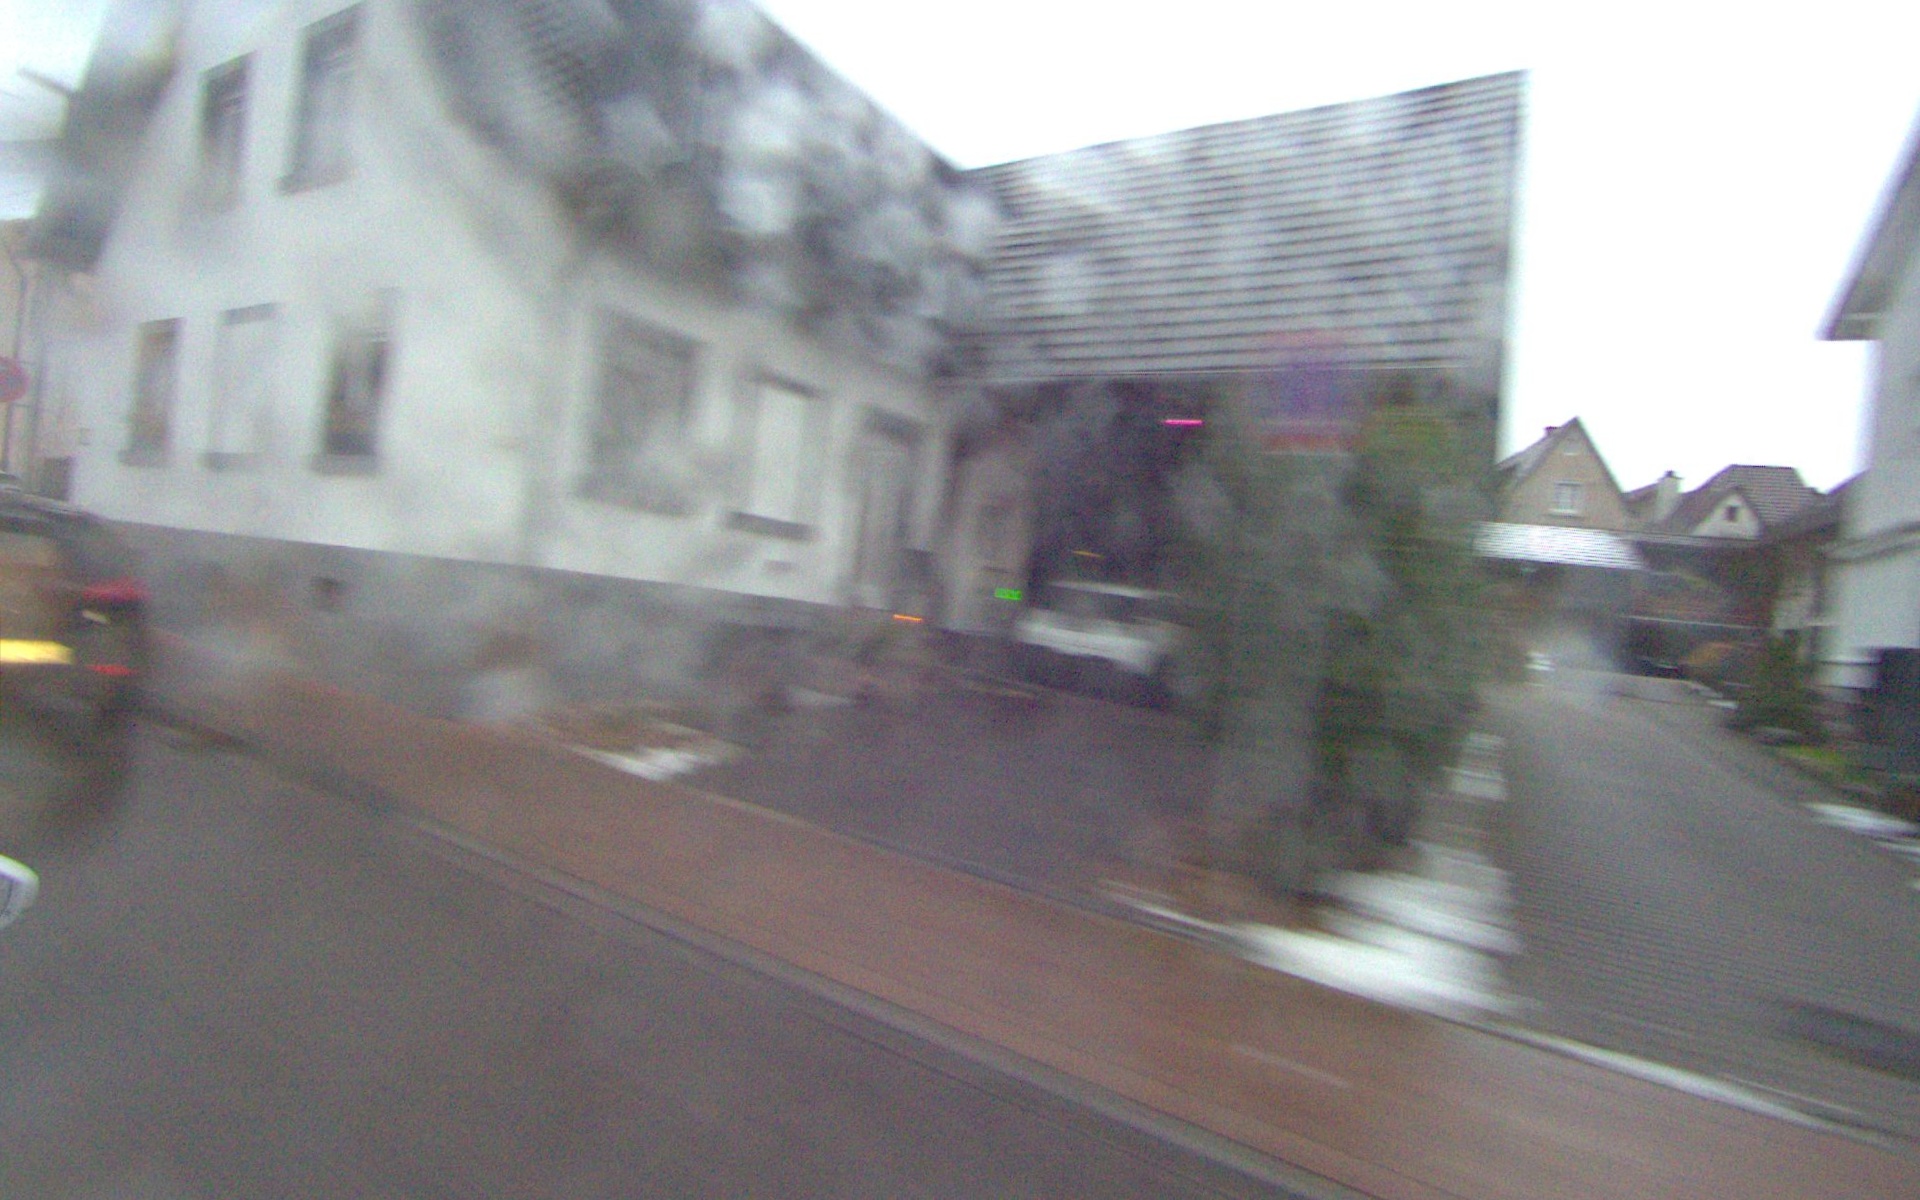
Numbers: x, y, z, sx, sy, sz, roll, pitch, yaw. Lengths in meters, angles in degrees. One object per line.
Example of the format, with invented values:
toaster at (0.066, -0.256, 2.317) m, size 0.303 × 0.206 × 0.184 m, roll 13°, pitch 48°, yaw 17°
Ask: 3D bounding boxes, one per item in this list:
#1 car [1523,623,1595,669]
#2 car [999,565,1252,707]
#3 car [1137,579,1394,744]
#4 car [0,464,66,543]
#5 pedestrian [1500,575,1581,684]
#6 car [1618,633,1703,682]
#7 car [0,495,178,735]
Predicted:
car at (23.993, 1.808, 40.410) m, size 1.842 × 1.554 × 3.995 m, roll 7°, pitch 1°, yaw 24°
car at (2.498, 0.553, 14.300) m, size 1.948 × 1.561 × 4.060 m, roll 7°, pitch 0°, yaw 33°
car at (4.051, 0.778, 12.847) m, size 1.948 × 1.582 × 4.060 m, roll 7°, pitch 0°, yaw 33°
car at (-21.131, -2.162, 20.961) m, size 4.197 × 1.507 × 1.811 m, roll 6°, pitch 2°, yaw 17°
pedestrian at (13.357, 0.658, 23.186) m, size 1.214 × 2.327 × 0.997 m, roll 7°, pitch 4°, yaw 21°
car at (27.180, 2.180, 39.172) m, size 1.842 × 1.554 × 3.995 m, roll 7°, pitch 1°, yaw 24°
car at (-7.626, -0.098, 7.302) m, size 3.933 × 1.488 × 1.641 m, roll 7°, pitch -1°, yaw 31°
